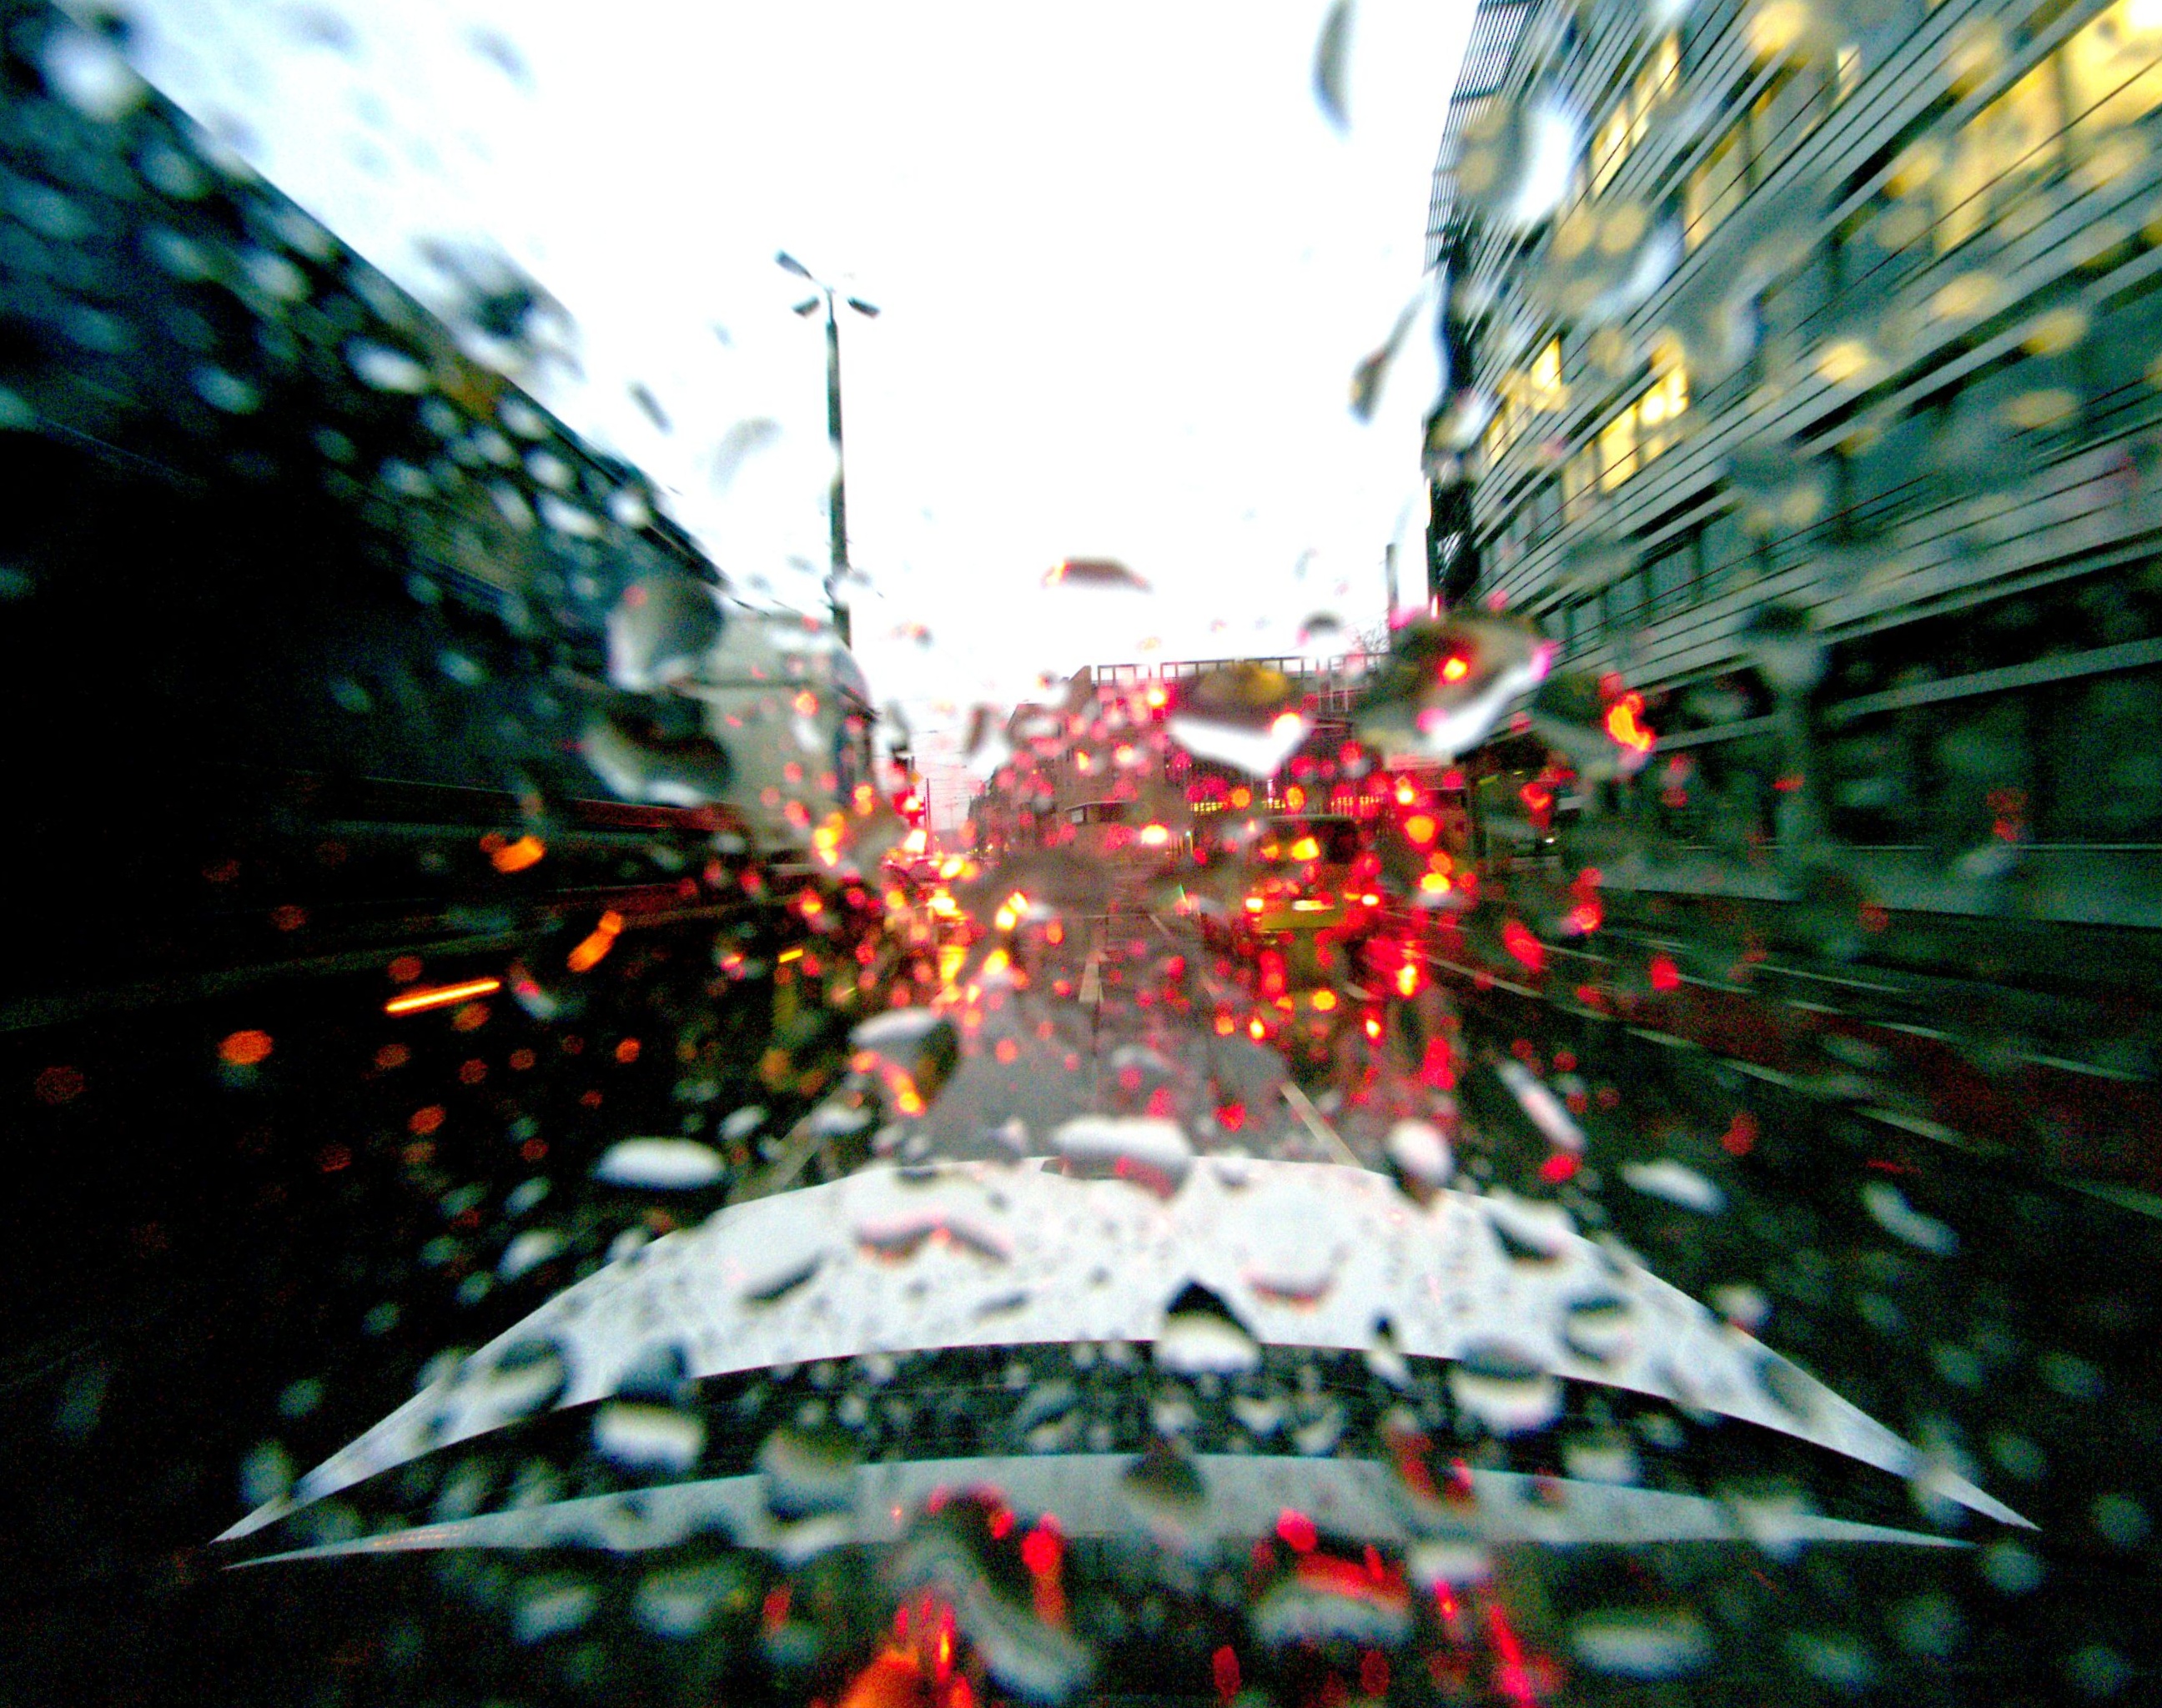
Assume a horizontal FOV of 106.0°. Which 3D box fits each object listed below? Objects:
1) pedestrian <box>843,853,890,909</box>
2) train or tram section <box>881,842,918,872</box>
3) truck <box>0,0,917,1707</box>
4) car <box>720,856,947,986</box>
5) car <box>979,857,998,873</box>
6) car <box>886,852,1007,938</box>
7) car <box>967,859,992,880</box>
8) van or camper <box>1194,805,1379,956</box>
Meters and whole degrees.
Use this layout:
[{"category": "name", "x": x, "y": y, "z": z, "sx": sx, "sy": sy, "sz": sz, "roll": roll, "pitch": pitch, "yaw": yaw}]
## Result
[{"category": "pedestrian", "x": -6.446, "y": 0.802, "z": 24.494, "sx": 0.707, "sy": 1.601, "sz": 1.043, "roll": -5, "pitch": -1, "yaw": 41}, {"category": "train or tram section", "x": -24.060, "y": 0.444, "z": 109.531, "sx": 3.191, "sy": 3.436, "sz": 27.739, "roll": -2, "pitch": 0, "yaw": -9}, {"category": "truck", "x": -3.013, "y": -0.293, "z": 4.018, "sx": 2.831, "sy": 3.633, "sz": 7.524, "roll": -2, "pitch": 0, "yaw": -1}, {"category": "car", "x": -3.101, "y": 0.763, "z": 11.093, "sx": 1.698, "sy": 1.448, "sz": 4.003, "roll": 0, "pitch": 0, "yaw": 3}, {"category": "car", "x": -9.280, "y": 1.096, "z": 81.571, "sx": 1.869, "sy": 1.578, "sz": 3.989, "roll": 0, "pitch": 0, "yaw": -8}, {"category": "car", "x": -2.565, "y": 0.731, "z": 16.371, "sx": 1.692, "sy": 1.459, "sz": 3.757, "roll": -2, "pitch": 0, "yaw": 1}, {"category": "car", "x": -8.162, "y": 1.206, "z": 65.365, "sx": 1.870, "sy": 1.578, "sz": 3.987, "roll": 0, "pitch": 0, "yaw": -10}, {"category": "van or camper", "x": 2.933, "y": 0.328, "z": 12.614, "sx": 1.751, "sy": 1.906, "sz": 4.418, "roll": -1, "pitch": 0, "yaw": 0}]
